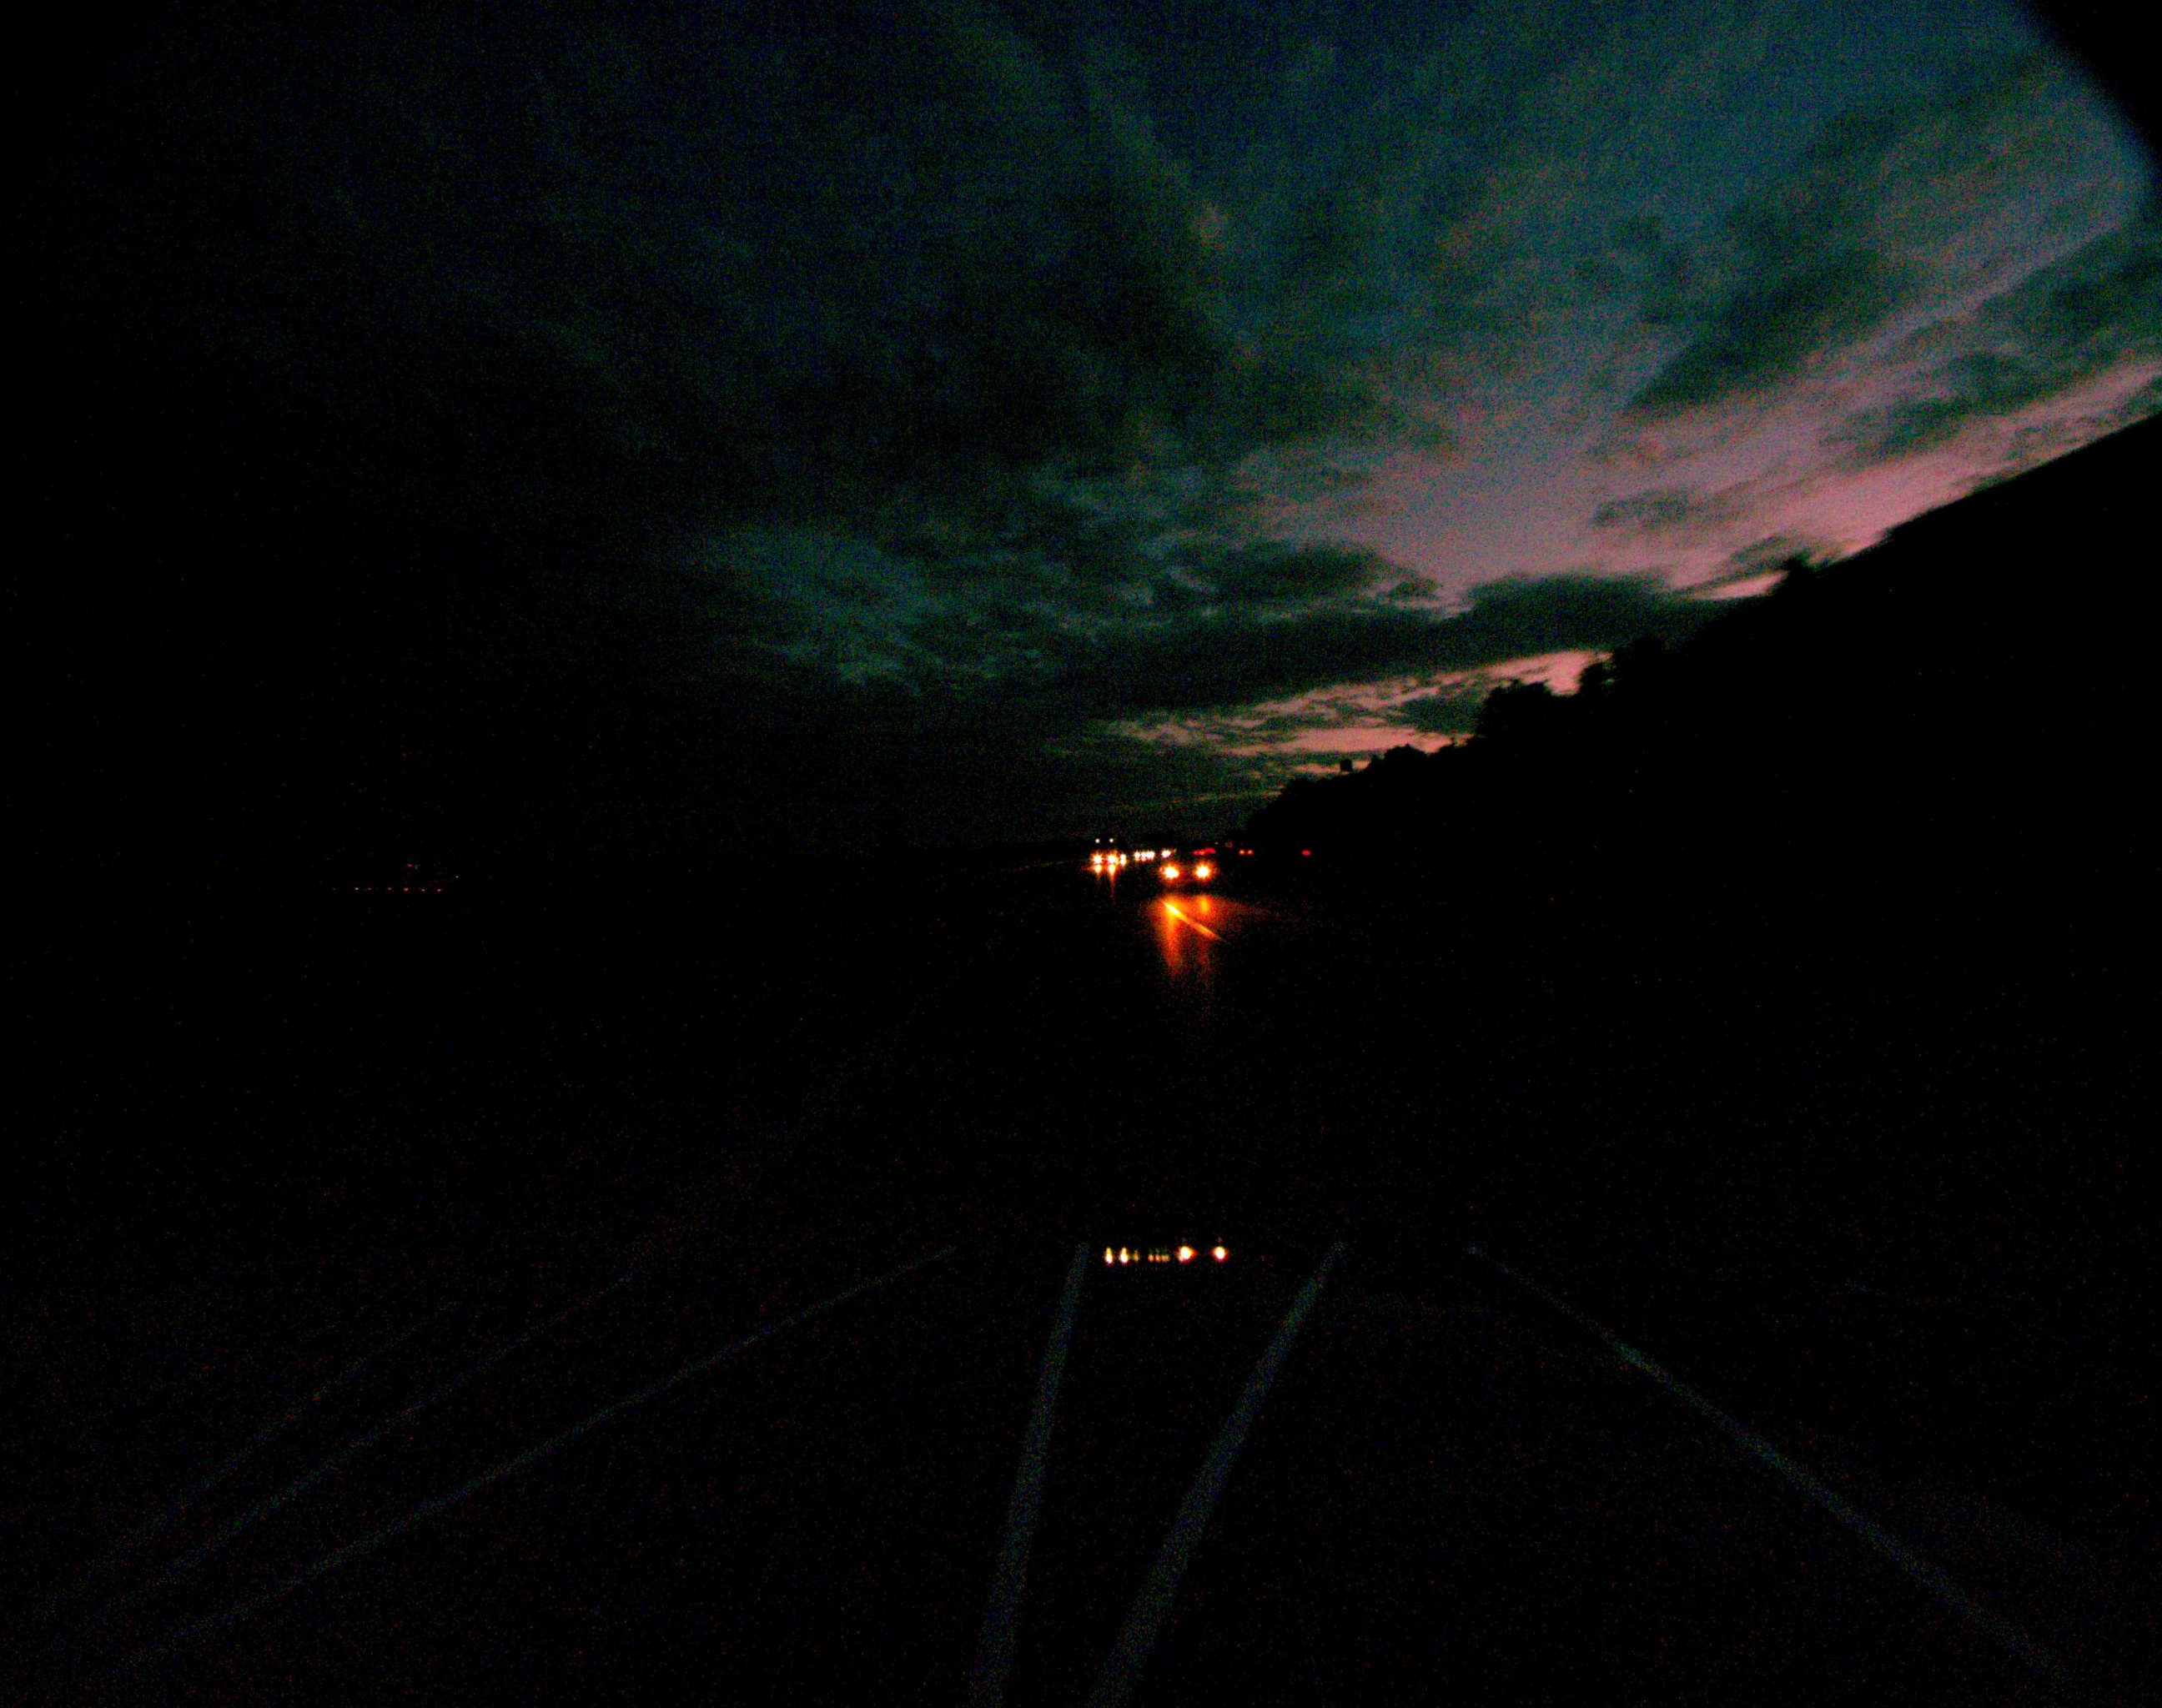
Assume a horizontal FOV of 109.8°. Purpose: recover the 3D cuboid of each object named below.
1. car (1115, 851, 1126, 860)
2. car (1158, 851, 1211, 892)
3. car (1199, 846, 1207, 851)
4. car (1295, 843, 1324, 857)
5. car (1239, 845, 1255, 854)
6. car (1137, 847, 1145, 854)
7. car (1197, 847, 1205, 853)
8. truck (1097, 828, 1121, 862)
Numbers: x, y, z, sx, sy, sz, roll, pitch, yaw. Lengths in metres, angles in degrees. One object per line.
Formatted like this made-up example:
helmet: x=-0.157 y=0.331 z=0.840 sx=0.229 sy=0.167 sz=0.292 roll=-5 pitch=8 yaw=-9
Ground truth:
car: x=8.246 y=0.376 z=157.921 sx=1.997 sy=1.715 sz=4.002 roll=-2 pitch=1 yaw=8
car: x=4.212 y=0.671 z=31.430 sx=1.717 sy=1.471 sz=4.000 roll=-3 pitch=1 yaw=2
car: x=36.858 y=-1.646 z=229.050 sx=1.998 sy=1.445 sz=3.835 roll=-2 pitch=1 yaw=4
car: x=26.652 y=-0.466 z=88.777 sx=1.998 sy=1.525 sz=5.006 roll=-3 pitch=1 yaw=2
car: x=29.918 y=-0.879 z=136.813 sx=1.998 sy=1.497 sz=4.506 roll=-3 pitch=1 yaw=3
car: x=14.644 y=-0.841 z=184.890 sx=1.652 sy=1.654 sz=3.777 roll=-2 pitch=1 yaw=8
car: x=32.349 y=-1.077 z=204.783 sx=1.838 sy=1.328 sz=4.911 roll=-2 pitch=1 yaw=7
truck: x=3.918 y=-1.298 z=108.288 sx=3.026 sy=4.372 sz=11.614 roll=-3 pitch=1 yaw=1
